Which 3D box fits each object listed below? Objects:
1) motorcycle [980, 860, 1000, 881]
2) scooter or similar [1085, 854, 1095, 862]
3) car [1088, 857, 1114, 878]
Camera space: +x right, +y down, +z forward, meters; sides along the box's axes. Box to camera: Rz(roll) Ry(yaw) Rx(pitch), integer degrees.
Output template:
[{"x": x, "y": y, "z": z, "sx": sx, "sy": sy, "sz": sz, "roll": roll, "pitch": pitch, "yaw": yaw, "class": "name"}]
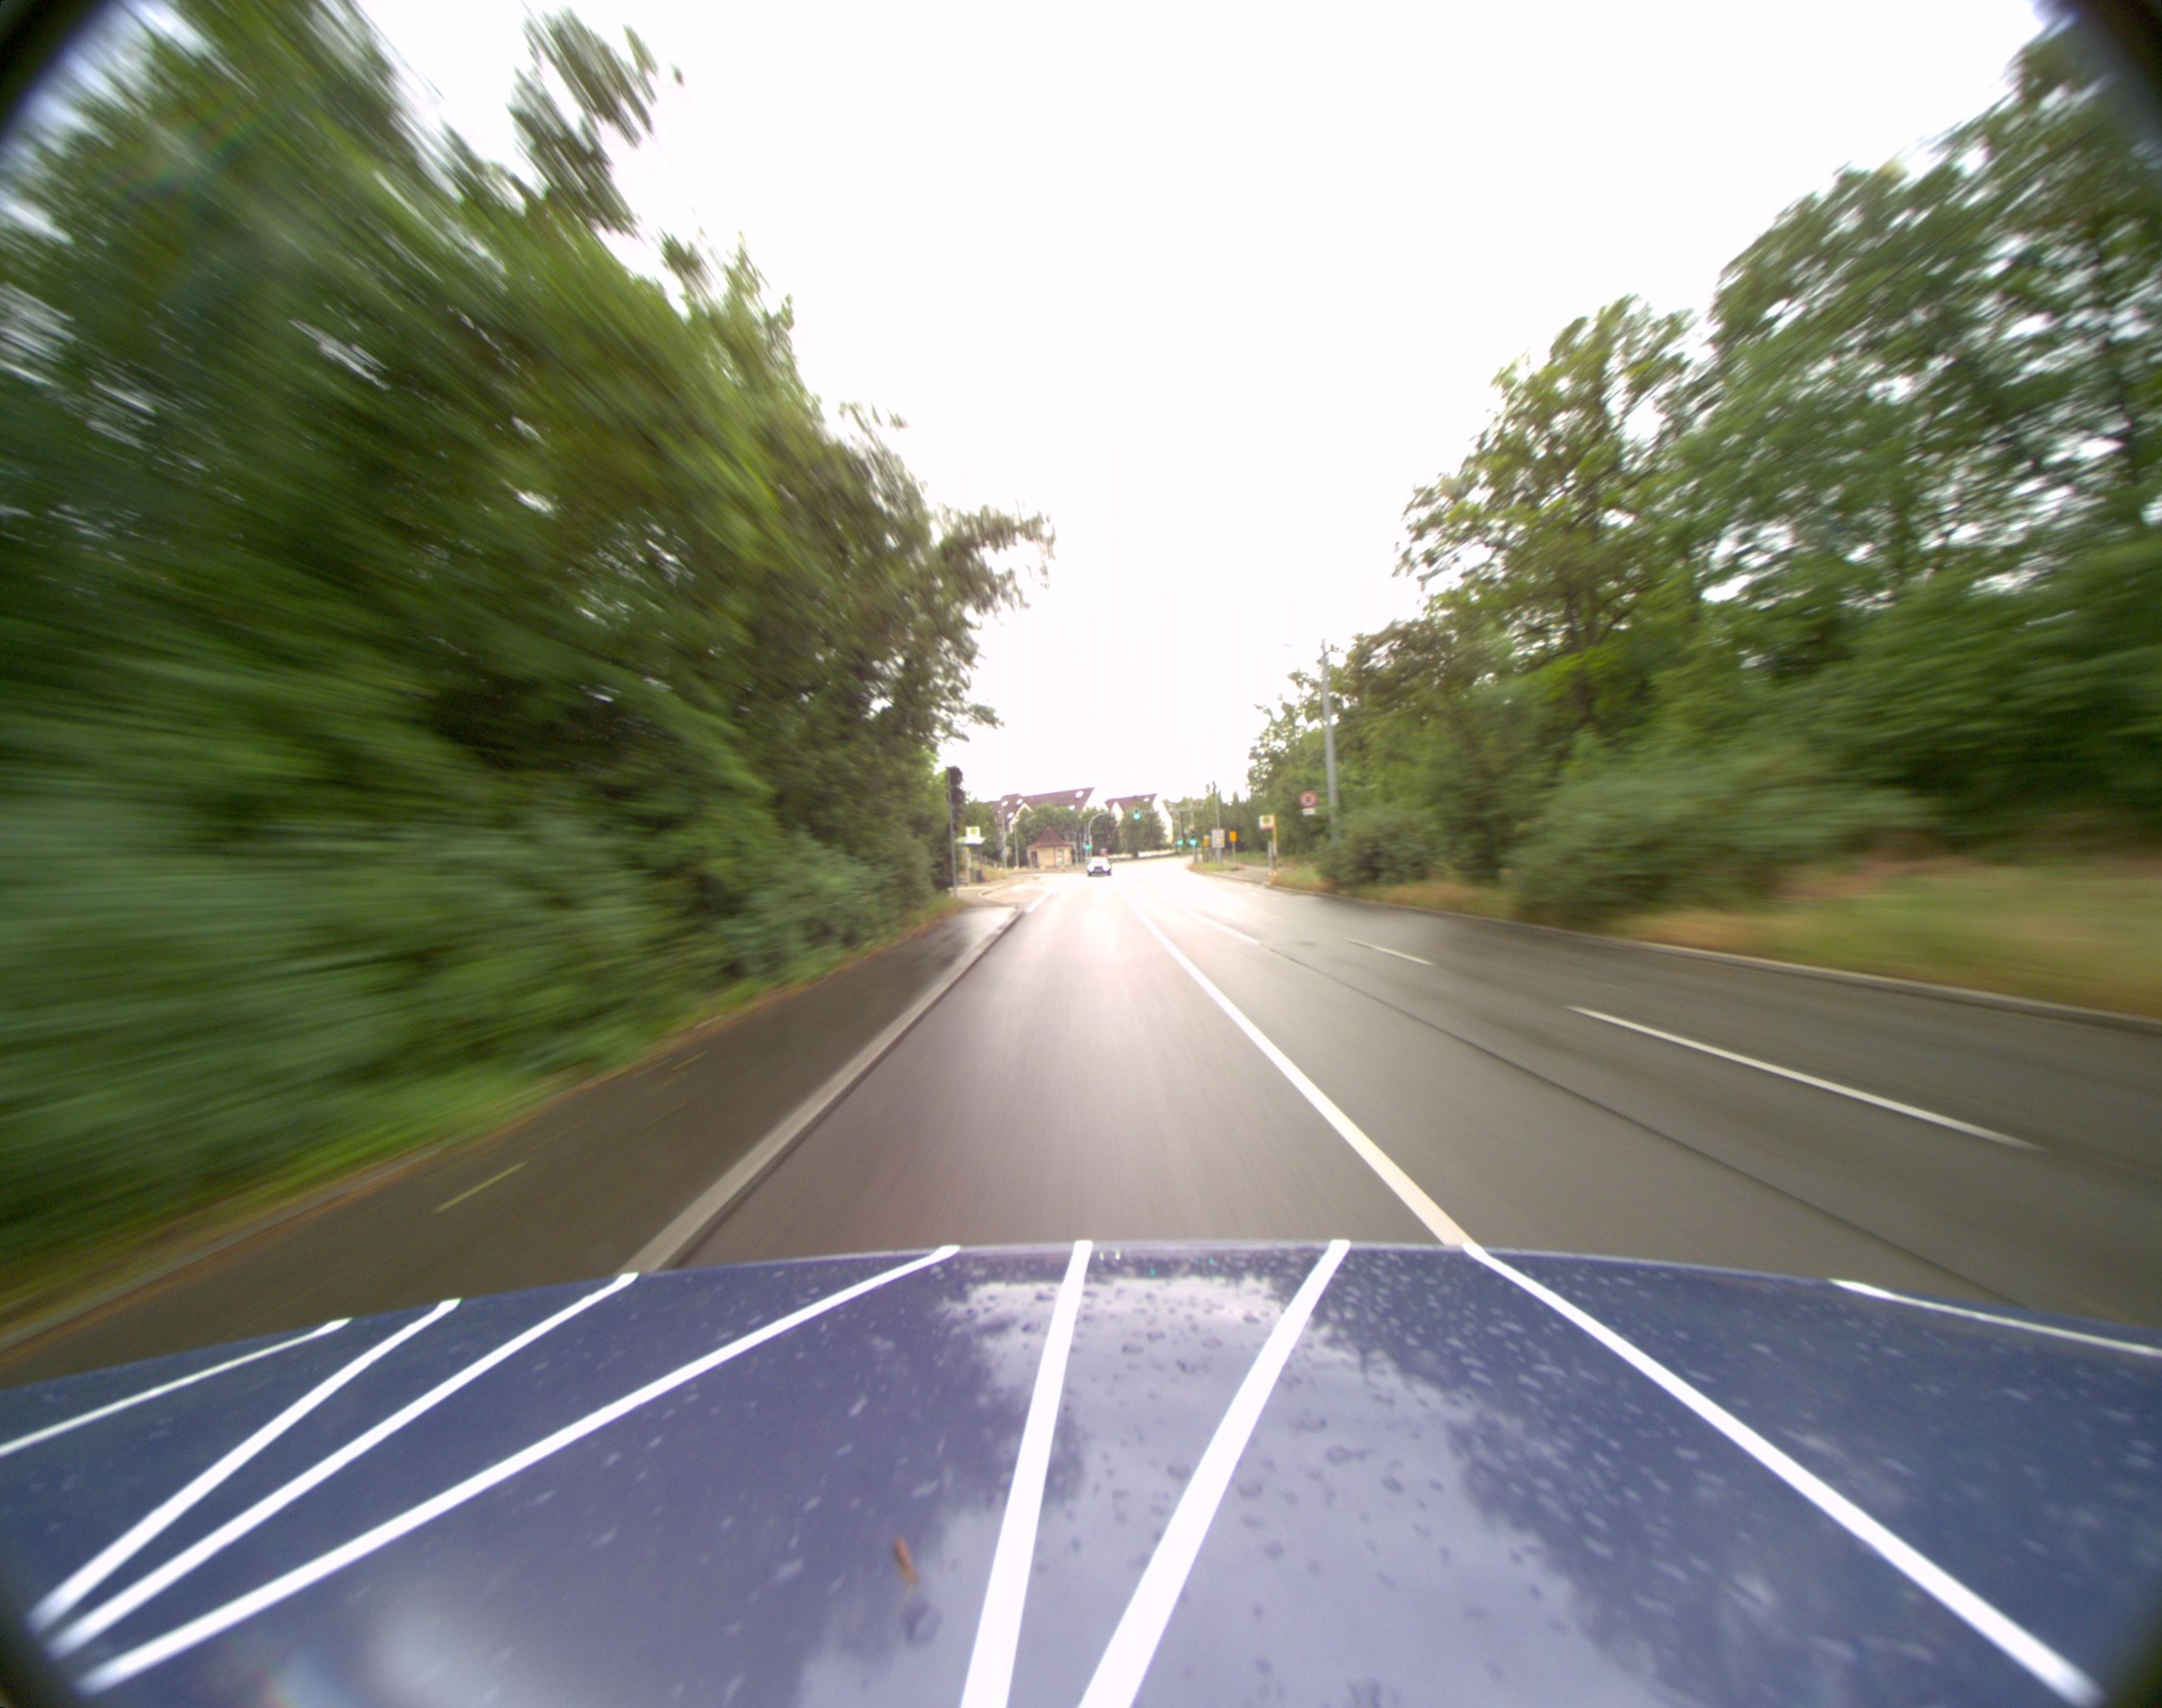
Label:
[{"x": -5.827, "y": 1.069, "z": 48.753, "sx": 0.589, "sy": 1.281, "sz": 1.539, "roll": -3, "pitch": 1, "yaw": 18, "class": "motorcycle"}, {"x": 1.434, "y": 0.668, "z": 121.771, "sx": 1.350, "sy": 1.200, "sz": 0.525, "roll": -6, "pitch": 1, "yaw": 20, "class": "scooter or similar"}, {"x": 1.552, "y": 1.033, "z": 59.671, "sx": 1.945, "sy": 1.446, "sz": 4.603, "roll": -3, "pitch": 1, "yaw": 1, "class": "car"}]
